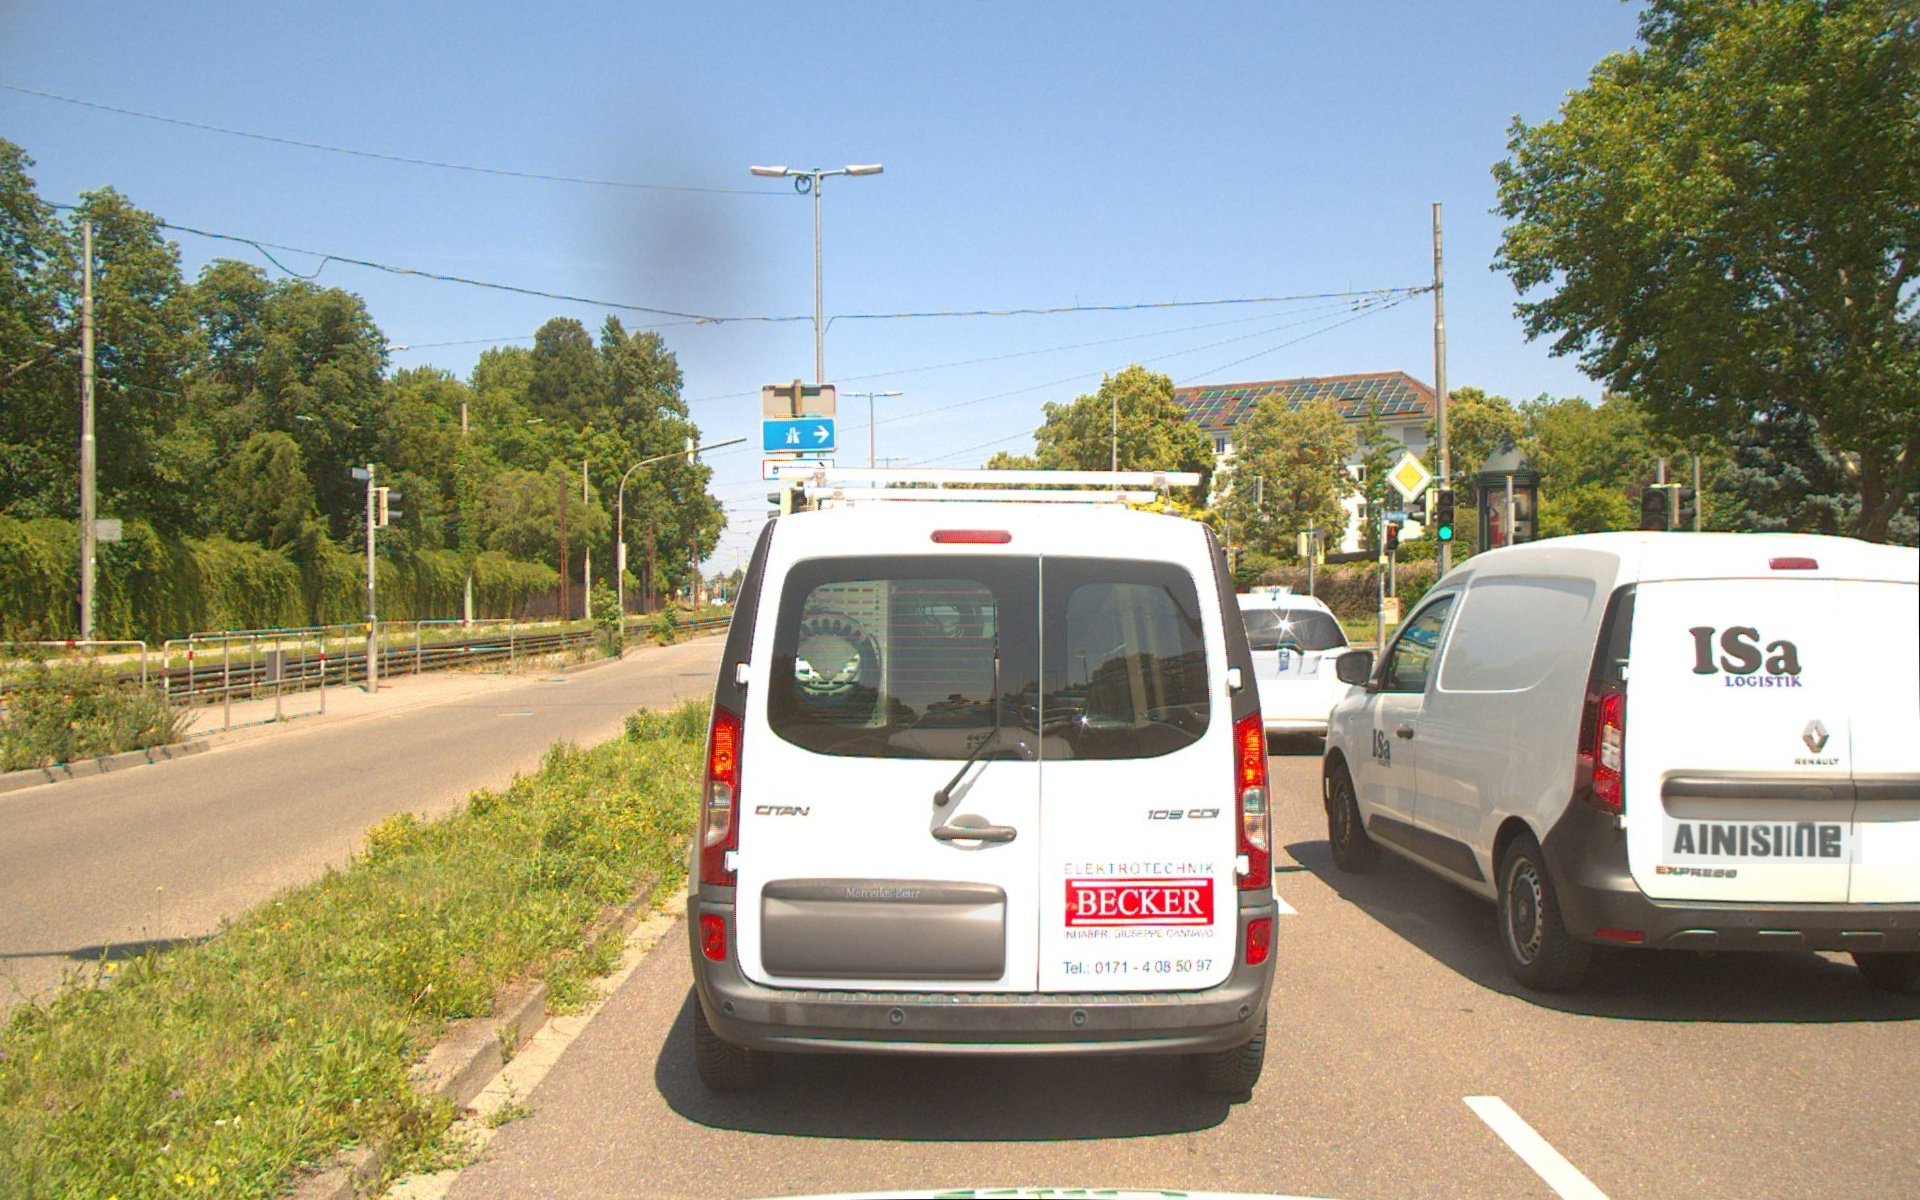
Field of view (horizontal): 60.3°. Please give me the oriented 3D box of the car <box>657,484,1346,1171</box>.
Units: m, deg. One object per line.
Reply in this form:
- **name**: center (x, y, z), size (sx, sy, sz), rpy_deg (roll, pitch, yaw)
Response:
- **car**: center (0.081, 0.583, 6.486), size (1.784, 1.770, 4.395), rpy_deg (0, 0, -1)

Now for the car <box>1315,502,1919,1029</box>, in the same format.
- **car**: center (3.024, 0.584, 7.802), size (1.693, 1.819, 4.063), rpy_deg (1, 0, -2)

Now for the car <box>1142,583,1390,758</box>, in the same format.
- **car**: center (3.075, 0.639, 17.415), size (1.798, 1.596, 3.999), rpy_deg (1, 1, -1)
